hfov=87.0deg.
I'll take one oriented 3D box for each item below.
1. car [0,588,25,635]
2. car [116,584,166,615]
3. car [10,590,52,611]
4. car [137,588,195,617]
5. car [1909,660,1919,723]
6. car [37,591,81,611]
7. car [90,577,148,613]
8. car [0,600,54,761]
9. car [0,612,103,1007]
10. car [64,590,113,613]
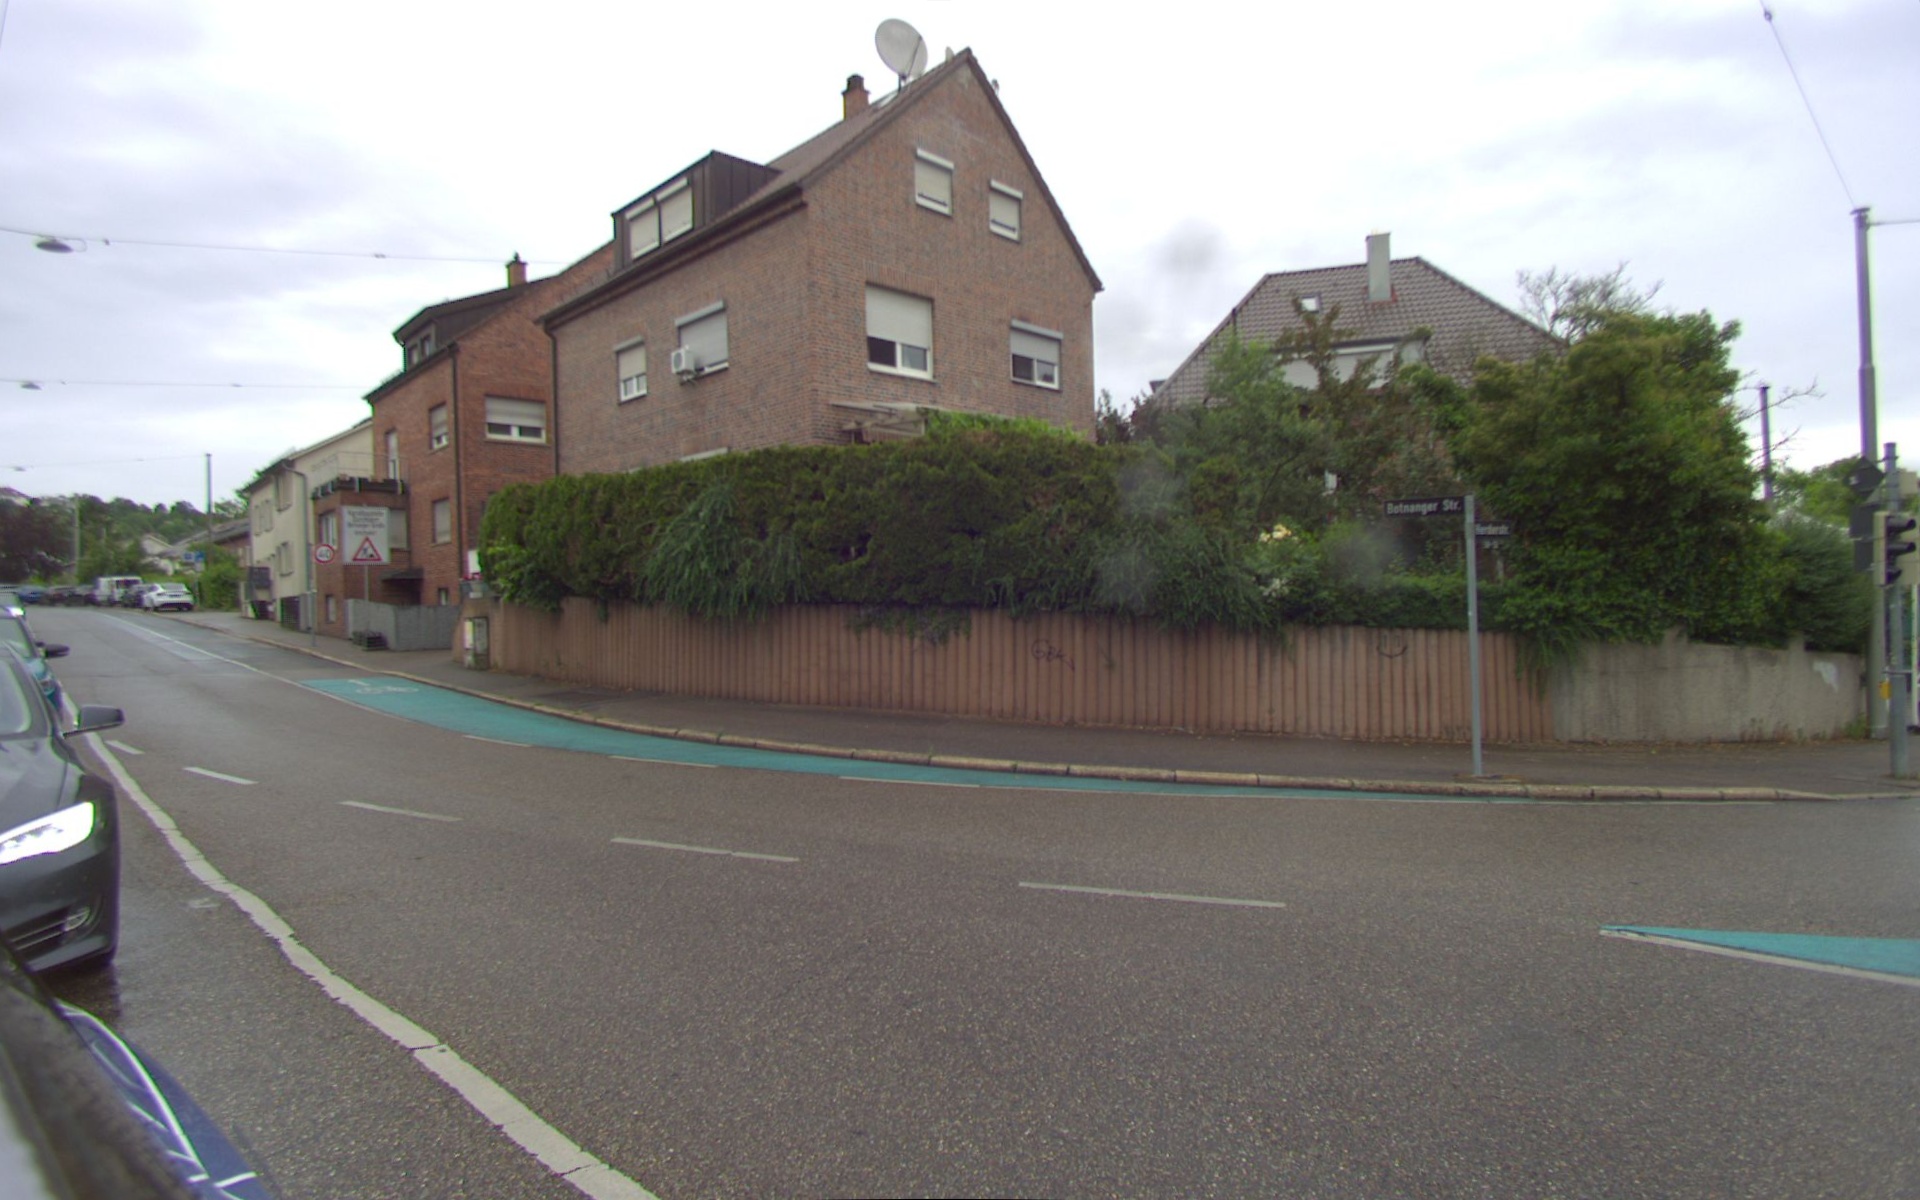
[{"bbox_3d":[-37.951,0.479,39.607,4.001,1.744,1.792,-3,-2,44],"label":"car"},{"bbox_3d":[-52.383,-0.034,64.726,4.262,1.817,1.791,0,2,42],"label":"car"},{"bbox_3d":[-71.109,0.046,77.426,3.895,1.501,1.605,-1,2,36],"label":"car"},{"bbox_3d":[-46.434,0.139,59.134,4.262,1.577,1.921,0,2,42],"label":"car"},{"bbox_3d":[25.756,2.272,24.580,1.837,1.644,4.297,-1,-3,11],"label":"car"},{"bbox_3d":[-66.552,0.077,74.708,3.854,1.407,1.635,-1,2,36],"label":"car"},{"bbox_3d":[-57.030,-0.346,68.584,4.544,2.303,2.229,0,2,41],"label":"car"},{"bbox_3d":[-11.232,0.801,11.063,3.785,1.601,1.765,0,0,45],"label":"car"},{"bbox_3d":[-5.409,0.793,4.705,4.002,1.426,1.845,0,0,45],"label":"car"},{"bbox_3d":[-61.564,0.101,71.480,4.002,1.501,1.636,-1,2,34],"label":"car"}]
